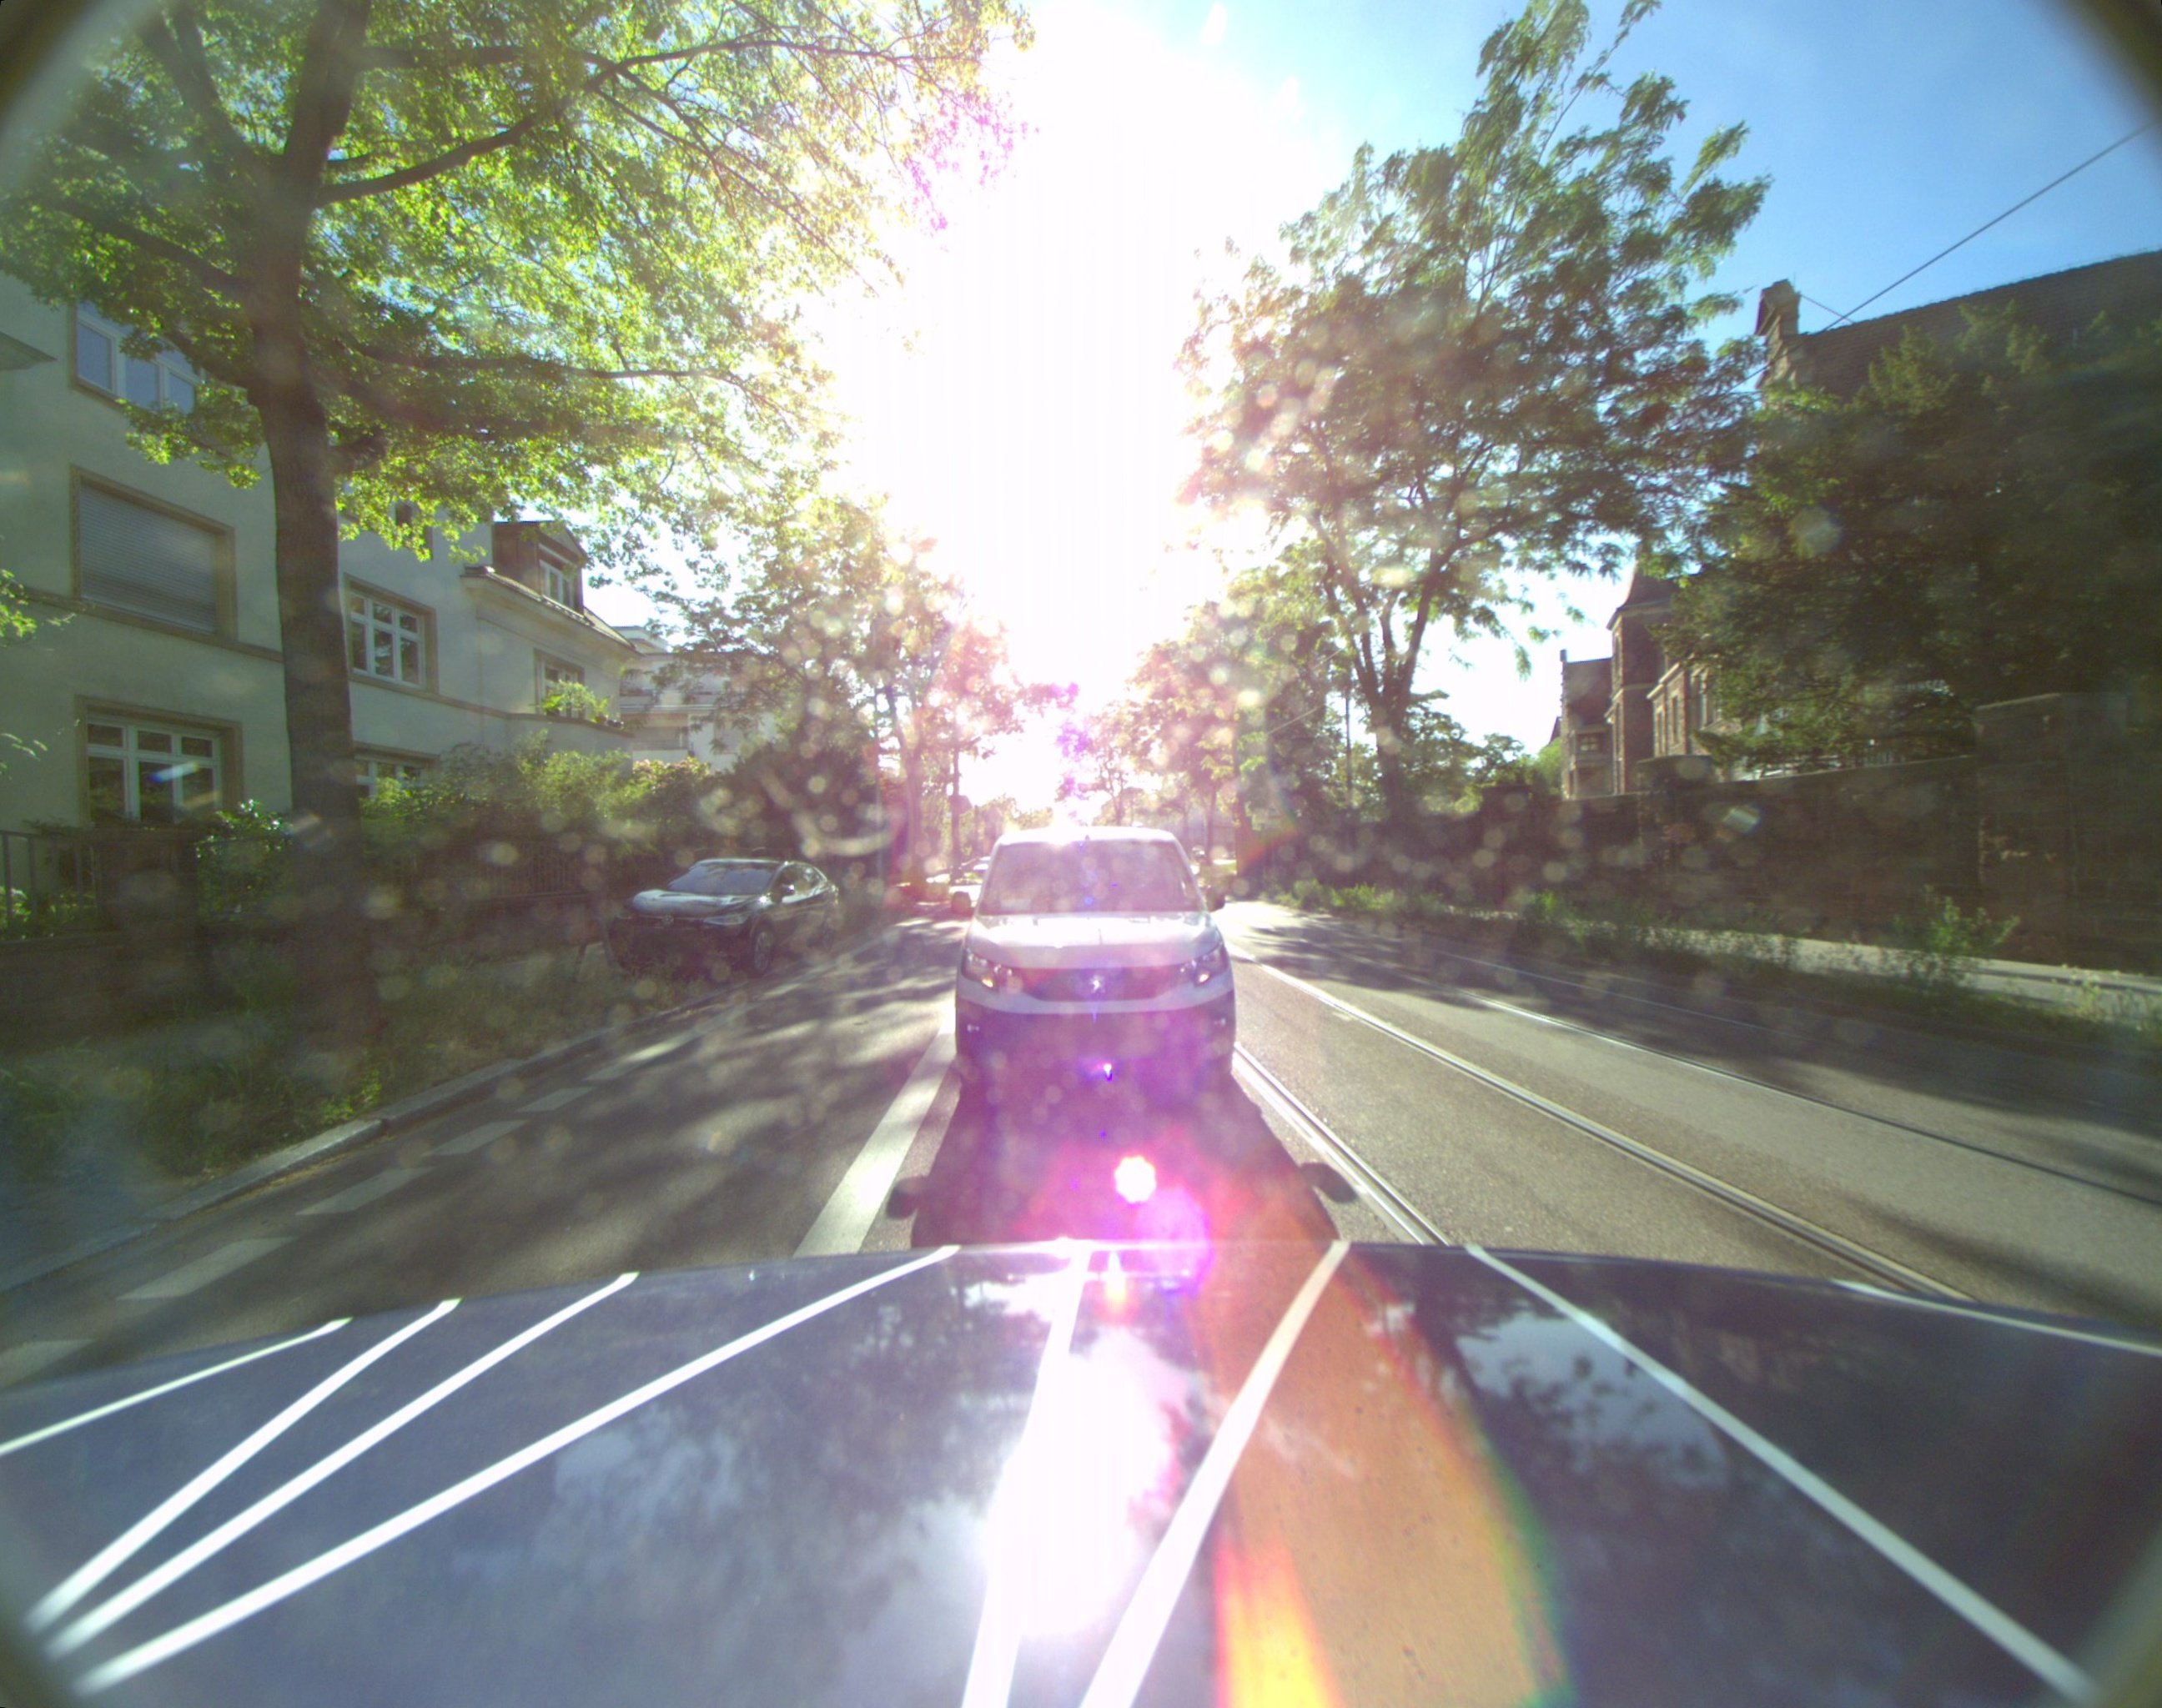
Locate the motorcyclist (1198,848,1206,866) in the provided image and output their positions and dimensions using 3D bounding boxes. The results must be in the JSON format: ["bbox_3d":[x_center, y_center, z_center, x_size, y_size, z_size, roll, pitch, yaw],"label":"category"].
[{"bbox_3d":[10.363,0.274,65.104,0.608,1.507,0.466,-2,1,5],"label":"motorcyclist"}]

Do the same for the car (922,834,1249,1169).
[{"bbox_3d":[0.019,0.801,6.153,1.768,1.812,3.999,-1,0,0],"label":"car"}]

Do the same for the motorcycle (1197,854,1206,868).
[{"bbox_3d":[10.414,0.600,65.598,0.610,1.087,1.857,-2,0,5],"label":"motorcycle"}]

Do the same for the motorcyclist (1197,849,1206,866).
[{"bbox_3d":[10.394,0.268,65.667,0.685,1.432,0.446,-2,1,5],"label":"motorcyclist"}]

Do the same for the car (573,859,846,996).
[{"bbox_3d":[-5.254,0.933,11.556,1.999,1.665,4.380,1,-1,0],"label":"car"}]

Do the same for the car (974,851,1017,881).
[{"bbox_3d":[-5.048,0.660,45.229,1.823,1.630,4.001,-2,0,4],"label":"car"}]

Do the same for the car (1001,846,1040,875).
[{"bbox_3d":[-4.081,0.421,51.991,2.129,1.884,4.746,-2,0,1],"label":"car"}]
